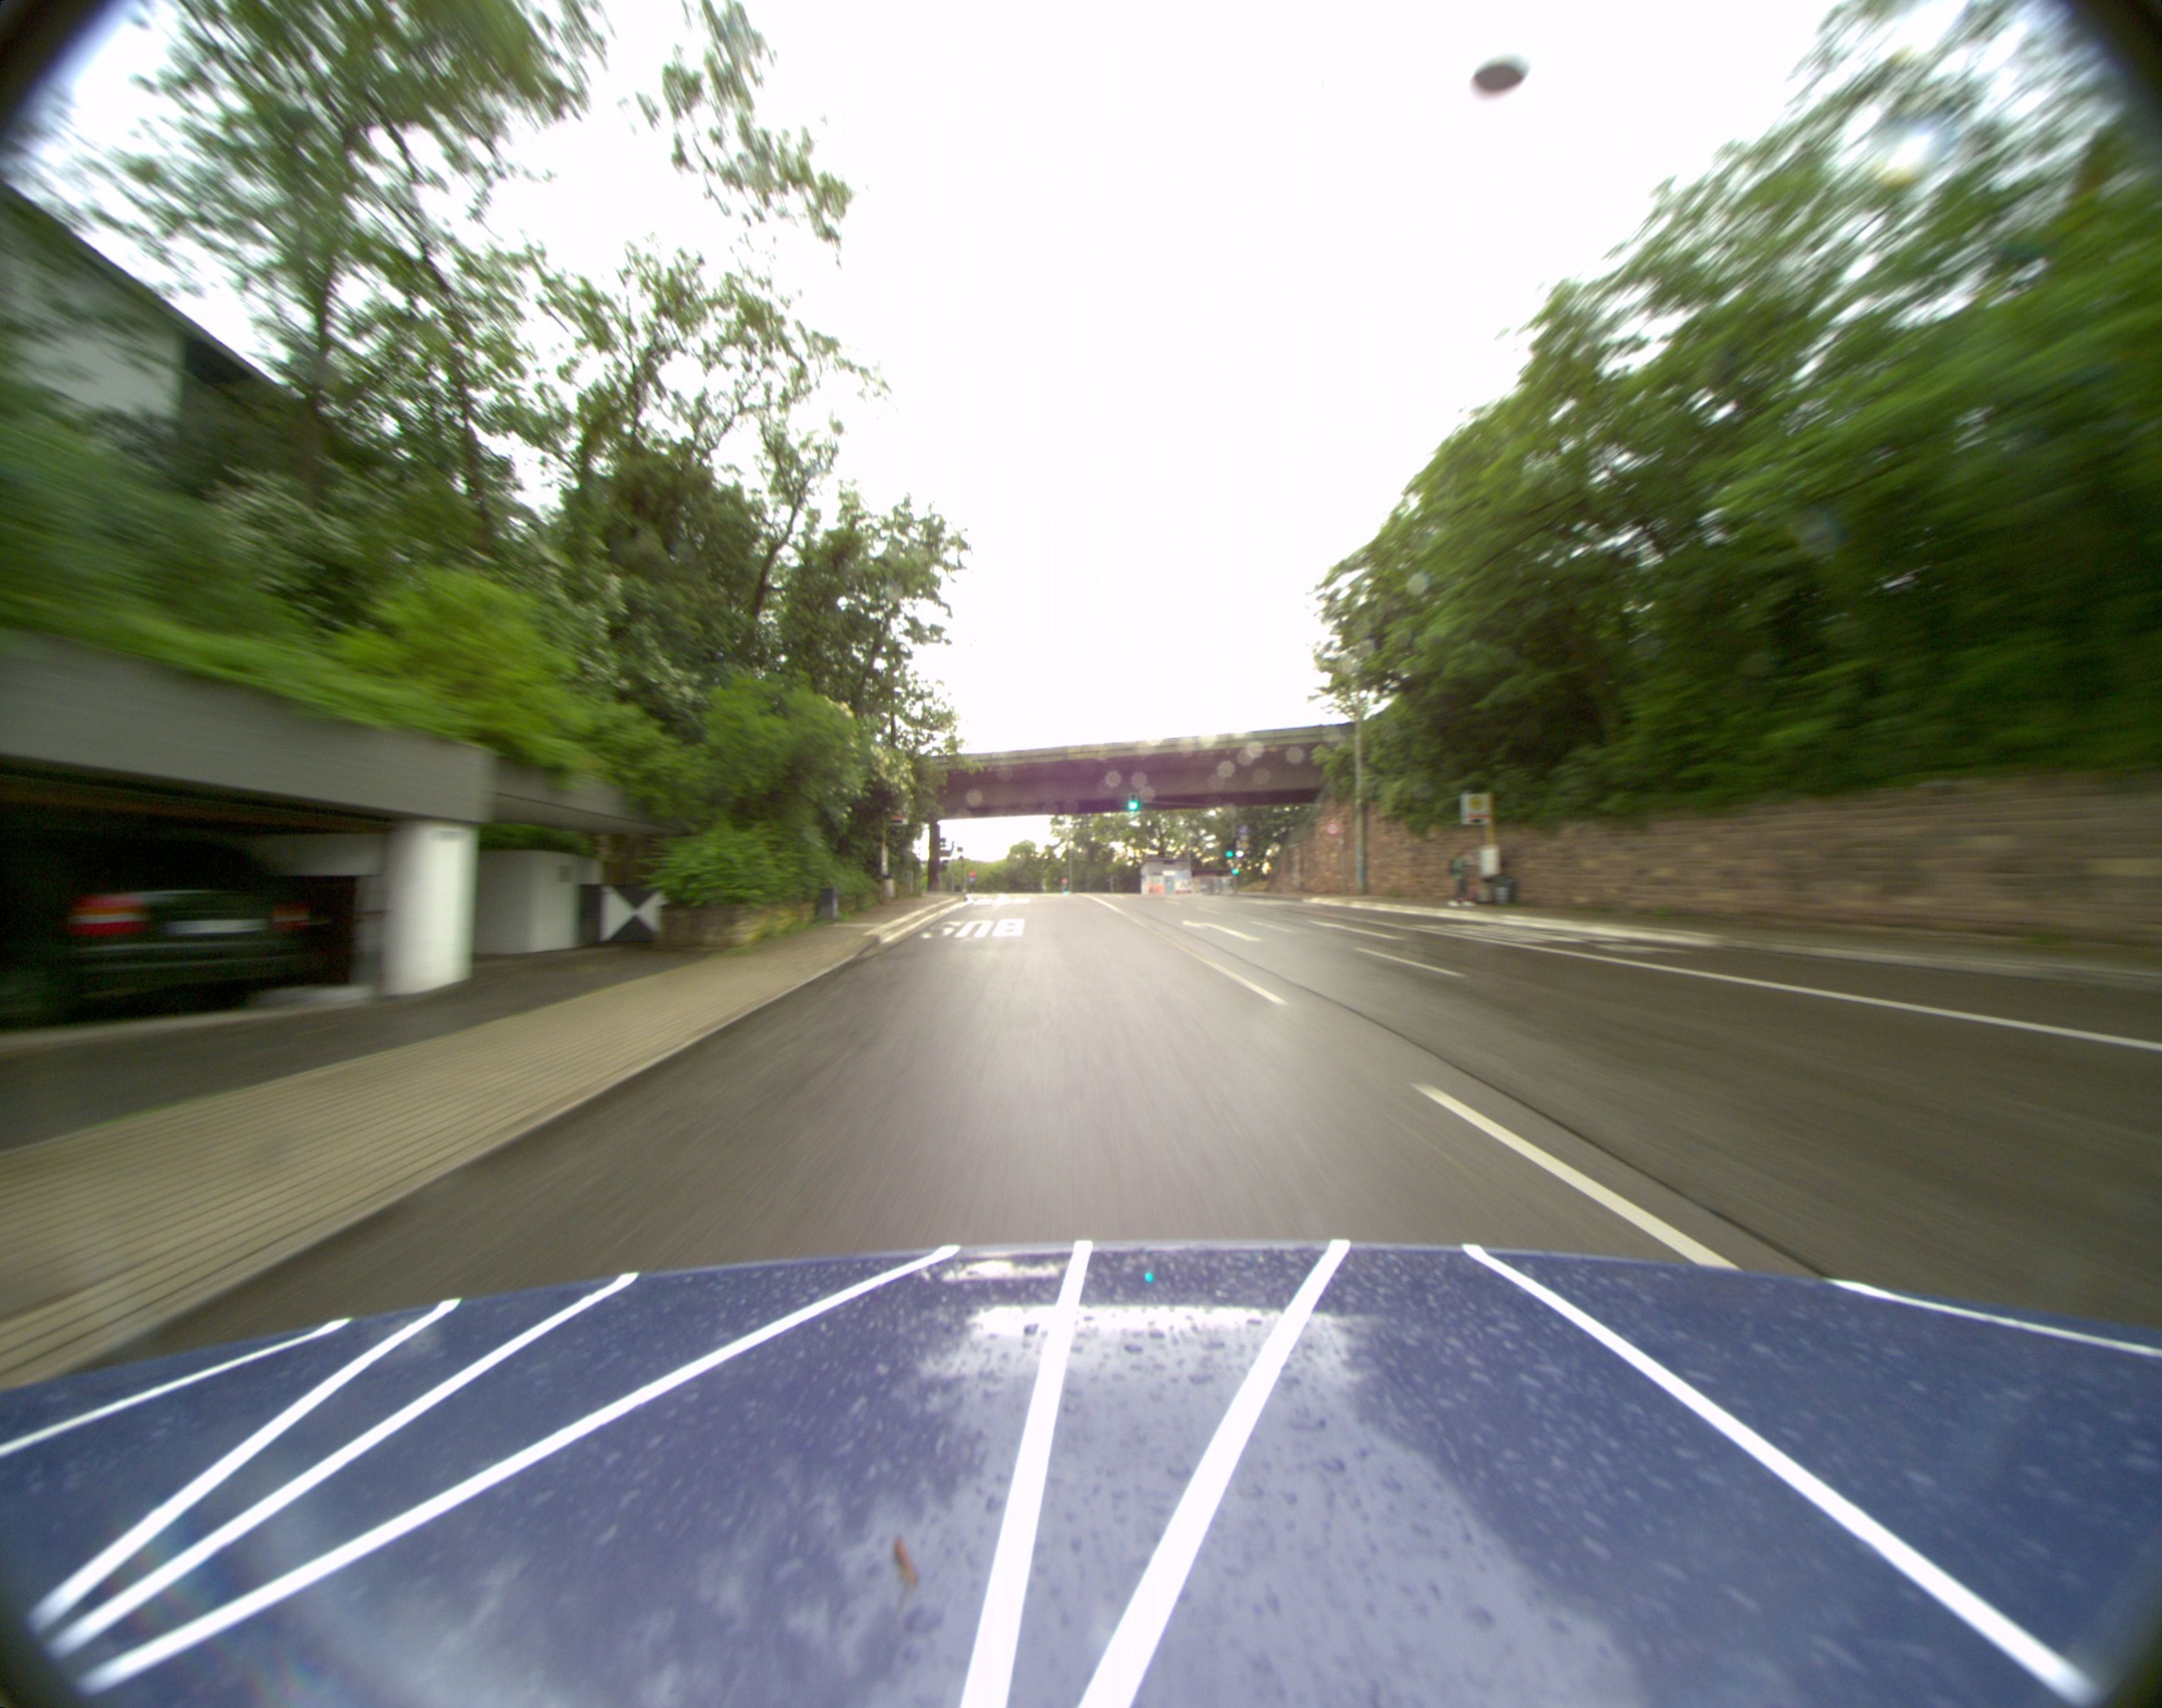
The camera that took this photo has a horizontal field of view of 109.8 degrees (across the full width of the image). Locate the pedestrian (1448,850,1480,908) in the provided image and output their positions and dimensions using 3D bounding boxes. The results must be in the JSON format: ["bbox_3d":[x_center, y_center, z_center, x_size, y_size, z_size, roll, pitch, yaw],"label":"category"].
[{"bbox_3d":[11.622,0.747,23.055,0.589,1.722,0.623,-2,1,-5],"label":"pedestrian"}]

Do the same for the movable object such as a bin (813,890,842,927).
[{"bbox_3d":[-5.734,1.228,17.202,0.507,0.783,0.502,-2,0,-6],"label":"movable object such as a bin"}]

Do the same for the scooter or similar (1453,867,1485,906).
[{"bbox_3d":[12.274,1.001,24.042,0.374,1.175,1.125,-2,0,-3],"label":"scooter or similar"}]

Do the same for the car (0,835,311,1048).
[{"bbox_3d":[-9.710,0.768,6.863,3.788,1.665,1.673,-1,-4,2],"label":"car"}]
